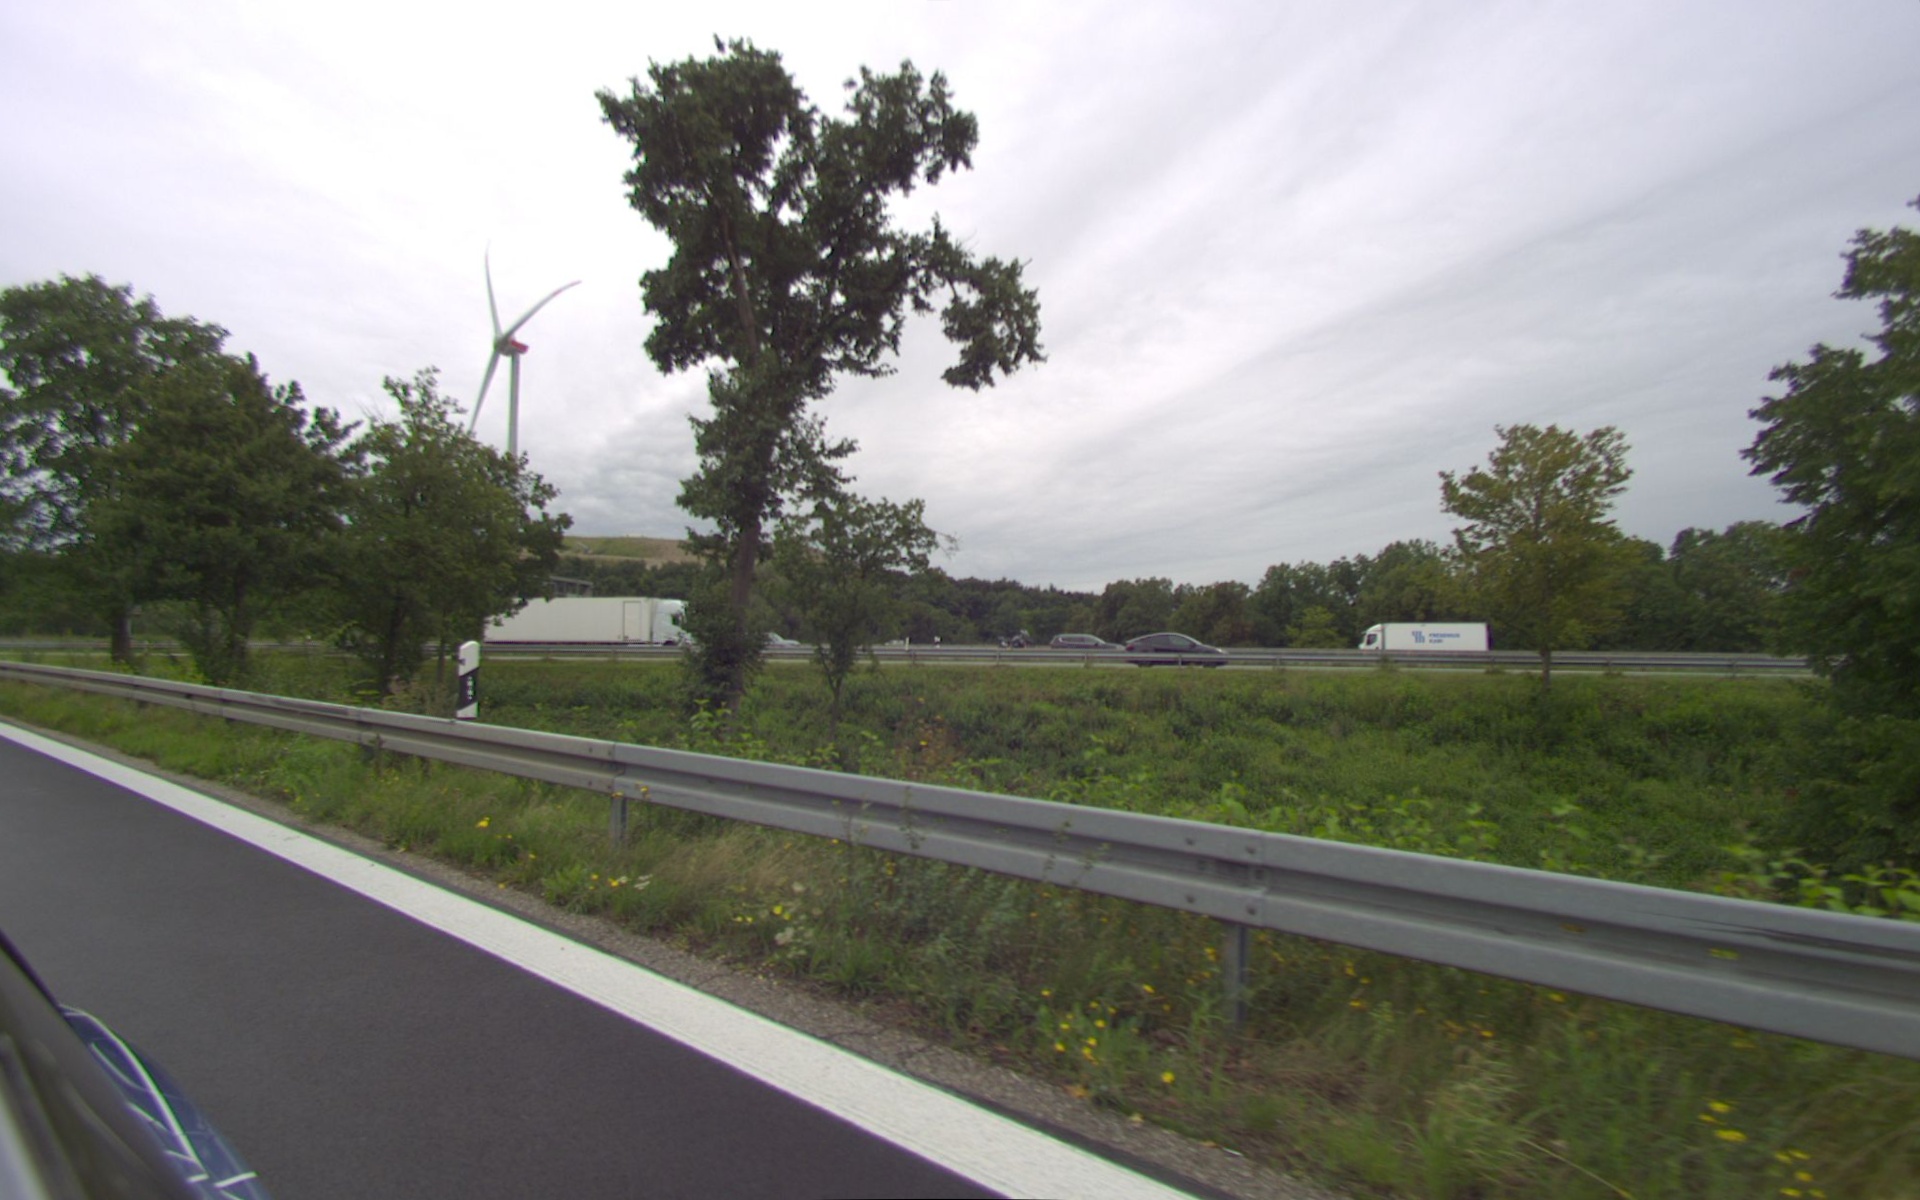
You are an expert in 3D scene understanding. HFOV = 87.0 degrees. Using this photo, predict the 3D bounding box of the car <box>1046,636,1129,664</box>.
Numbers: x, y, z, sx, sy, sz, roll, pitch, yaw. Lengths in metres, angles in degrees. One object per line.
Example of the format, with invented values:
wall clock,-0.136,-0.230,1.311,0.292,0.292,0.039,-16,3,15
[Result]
car,7.740,3.022,61.351,4.762,1.638,1.879,0,-2,15

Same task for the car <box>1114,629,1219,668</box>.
car,9.288,2.158,45.504,4.512,1.650,1.958,0,-2,16

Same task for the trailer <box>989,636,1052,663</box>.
trailer,3.740,3.036,62.432,3.577,1.638,1.879,0,-2,15

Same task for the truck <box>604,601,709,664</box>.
truck,-20.654,2.207,68.907,6.384,4.167,2.762,-1,-2,15

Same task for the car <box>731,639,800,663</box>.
car,-13.782,3.599,71.695,4.442,1.663,1.896,-1,-3,14

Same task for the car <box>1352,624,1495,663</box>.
car,36.879,3.440,80.913,9.993,3.005,2.726,0,-2,16

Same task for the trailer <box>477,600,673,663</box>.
trailer,-26.886,2.230,70.585,13.820,4.167,2.762,-1,-2,15
